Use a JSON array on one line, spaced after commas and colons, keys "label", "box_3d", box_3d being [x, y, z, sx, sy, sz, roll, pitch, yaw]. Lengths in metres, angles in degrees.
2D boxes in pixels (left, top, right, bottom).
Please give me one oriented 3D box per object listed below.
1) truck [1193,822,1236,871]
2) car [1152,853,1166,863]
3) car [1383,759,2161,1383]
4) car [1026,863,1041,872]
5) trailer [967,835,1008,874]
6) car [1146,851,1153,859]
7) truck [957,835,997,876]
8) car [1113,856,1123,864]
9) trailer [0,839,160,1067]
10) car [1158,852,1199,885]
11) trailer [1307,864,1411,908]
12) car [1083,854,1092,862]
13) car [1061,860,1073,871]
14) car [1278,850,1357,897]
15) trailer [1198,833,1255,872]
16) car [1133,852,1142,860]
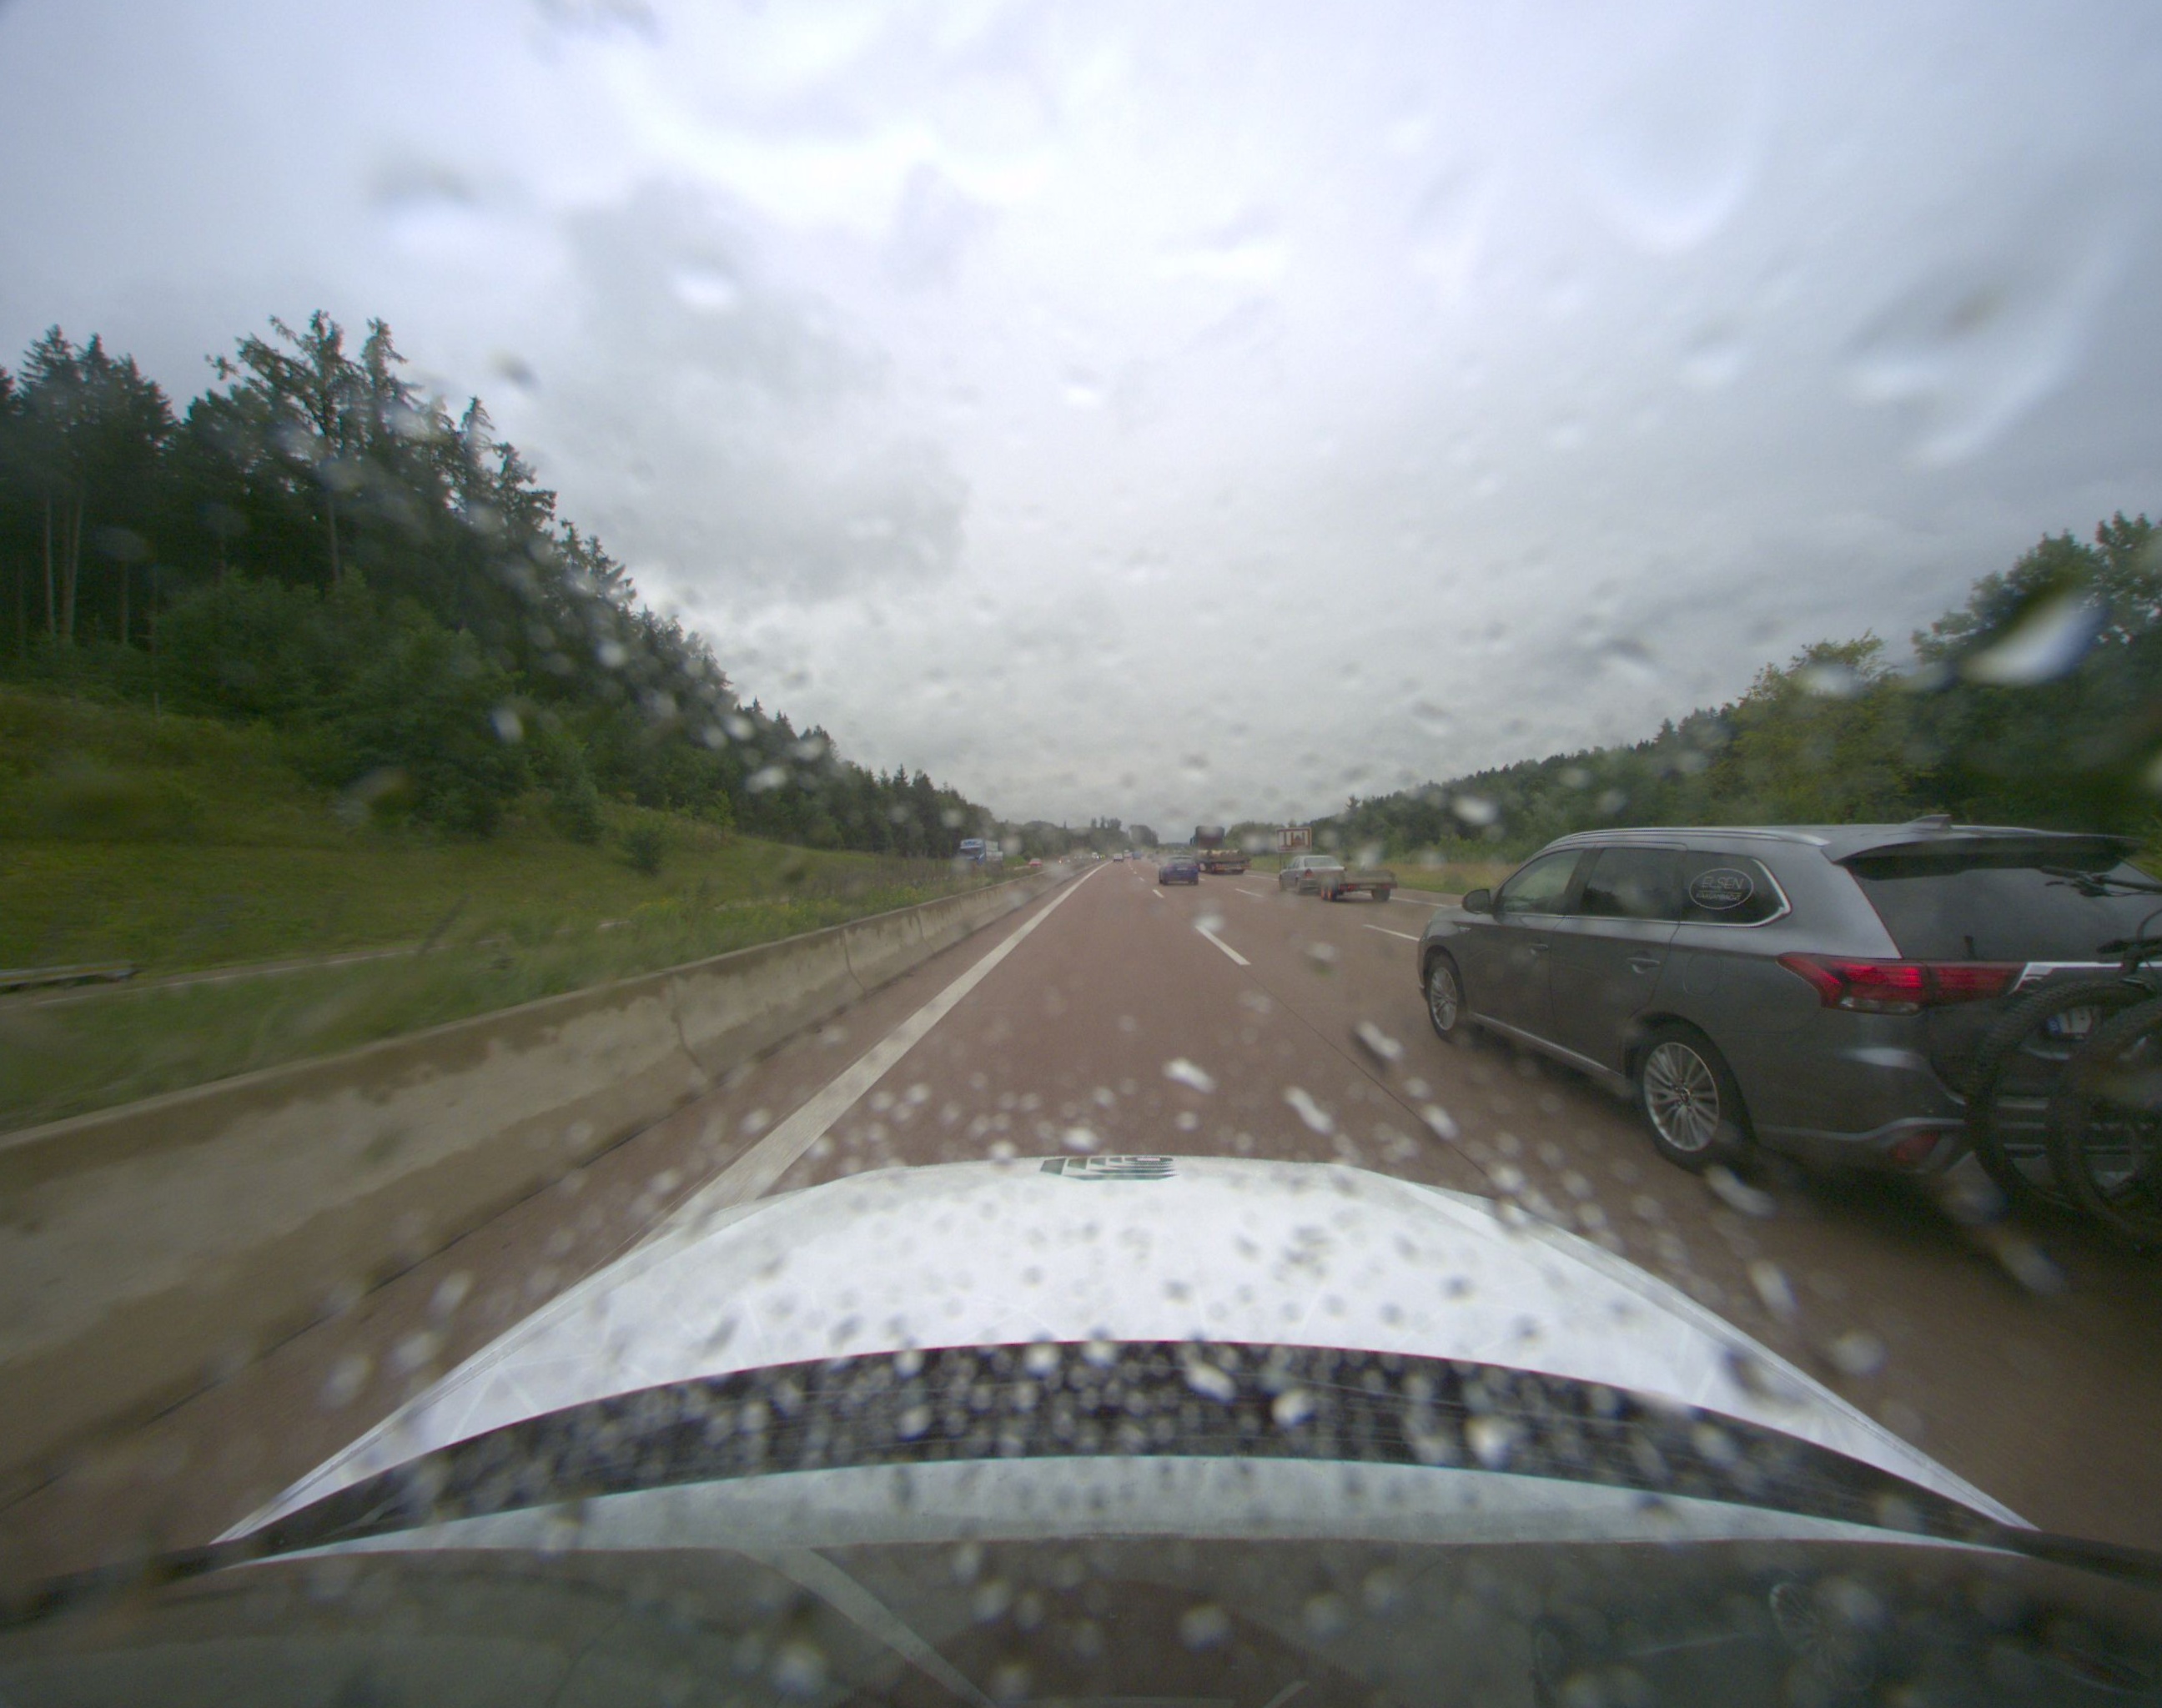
[{"label": "truck", "box_3d": [11.304, -0.544, 69.447, 2.885, 3.965, 6.993, 0, -1, 3]}, {"label": "car", "box_3d": [14.103, 0.744, 147.131, 2.312, 1.750, 4.881, 0, -1, 3]}, {"label": "car", "box_3d": [3.818, 0.602, 4.862, 1.986, 1.593, 5.821, 0, -1, 1]}, {"label": "car", "box_3d": [-7.000, 2.026, 120.682, 1.812, 1.369, 5.116, 0, -1, 2]}, {"label": "trailer", "box_3d": [-11.653, -0.005, 102.944, 2.922, 4.275, 12.950, -5, 0, 2]}, {"label": "car", "box_3d": [19.571, 0.300, 233.075, 1.985, 2.014, 4.003, 0, -1, 3]}, {"label": "truck", "box_3d": [-11.914, 0.102, 93.950, 2.953, 4.319, 7.652, -5, 1, 2]}, {"label": "car", "box_3d": [6.911, 1.062, 153.132, 1.867, 1.444, 4.877, 0, -1, 1]}, {"label": "trailer", "box_3d": [-15.791, 1.202, 5.288, 2.828, 2.998, 14.439, 0, -1, 2]}, {"label": "car", "box_3d": [4.875, 0.744, 41.098, 1.764, 1.564, 4.150, 0, -1, 3]}, {"label": "trailer", "box_3d": [8.726, 0.958, 25.986, 1.963, 1.166, 4.643, 0, 0, 3]}, {"label": "car", "box_3d": [1.522, 1.038, 196.705, 1.768, 1.856, 5.329, 0, -1, 5]}, {"label": "car", "box_3d": [-2.345, 1.952, 137.798, 1.812, 1.842, 6.240, 0, -1, 2]}, {"label": "car", "box_3d": [8.808, 0.719, 30.771, 1.691, 1.611, 4.979, -1, -1, 2]}, {"label": "trailer", "box_3d": [10.879, -0.005, 61.991, 2.869, 2.676, 11.407, 0, -1, 3]}, {"label": "car", "box_3d": [14.470, 0.541, 207.686, 2.312, 1.750, 4.881, 0, -1, 3]}]
